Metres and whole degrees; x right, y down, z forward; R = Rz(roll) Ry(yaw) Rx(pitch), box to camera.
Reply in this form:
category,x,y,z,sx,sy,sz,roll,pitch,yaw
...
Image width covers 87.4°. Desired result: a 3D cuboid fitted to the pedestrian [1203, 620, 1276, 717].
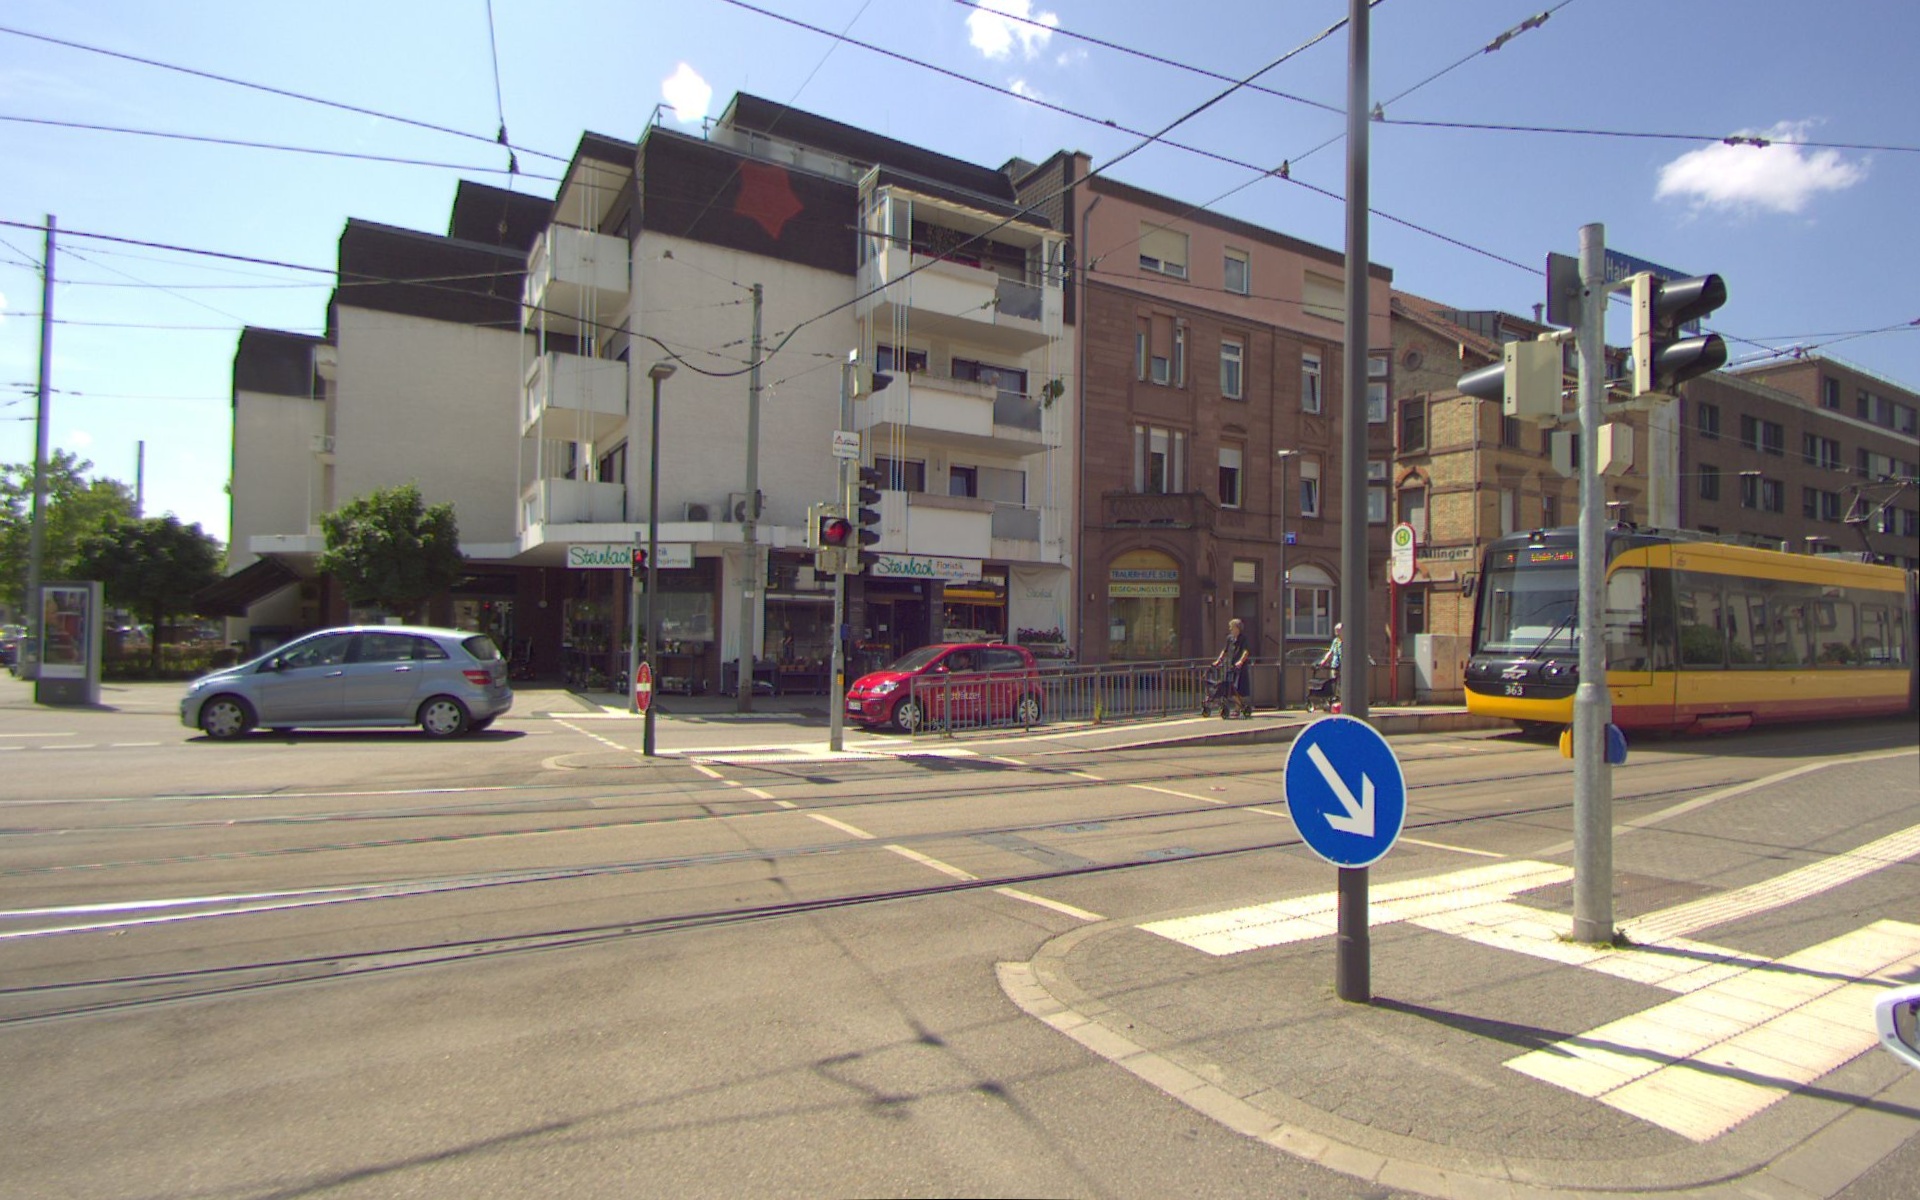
category,x,y,z,sx,sy,sz,roll,pitch,yaw
pedestrian,4.720,1.139,16.973,0.910,1.580,0.781,2,-2,-31

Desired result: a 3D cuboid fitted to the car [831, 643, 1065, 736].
category,x,y,z,sx,sy,sz,roll,pitch,yaw
car,-0.177,1.511,17.659,3.809,1.463,1.647,2,-2,-31

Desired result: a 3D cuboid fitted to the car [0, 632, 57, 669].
category,x,y,z,sx,sy,sz,roll,pitch,yaw
car,-36.393,1.889,38.459,1.979,1.350,4.777,2,-3,-33

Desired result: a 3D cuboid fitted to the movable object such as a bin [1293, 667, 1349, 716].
category,x,y,z,sx,sy,sz,roll,pitch,yaw
movable object such as a bin,6.179,1.553,17.185,0.613,0.790,0.671,2,-3,-32

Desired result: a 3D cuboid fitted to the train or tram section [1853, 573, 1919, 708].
category,x,y,z,sx,sy,sz,roll,pitch,yaw
train or tram section,32.591,1.390,30.802,16.165,3.614,3.219,3,-3,-32

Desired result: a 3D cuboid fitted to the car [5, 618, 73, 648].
category,x,y,z,sx,sy,sz,roll,pitch,yaw
car,-52.772,1.885,57.637,1.978,1.627,4.779,2,-2,-32

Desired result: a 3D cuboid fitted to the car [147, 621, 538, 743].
category,x,y,z,sx,sy,sz,roll,pitch,yaw
car,-8.834,1.178,14.803,4.524,1.636,1.737,1,-2,-12

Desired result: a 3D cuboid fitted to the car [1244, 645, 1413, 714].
category,x,y,z,sx,sy,sz,roll,pitch,yaw
car,8.552,1.815,23.264,3.743,1.475,1.644,2,-4,-29

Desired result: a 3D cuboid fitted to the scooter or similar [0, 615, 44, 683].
category,x,y,z,sx,sy,sz,roll,pitch,yaw
scooter or similar,-26.778,1.378,28.626,0.611,1.870,1.995,2,-3,-33

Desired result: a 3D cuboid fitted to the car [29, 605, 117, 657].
category,x,y,z,sx,sy,sz,roll,pitch,yaw
car,-42.516,1.522,48.285,2.191,2.369,5.177,2,-3,-31

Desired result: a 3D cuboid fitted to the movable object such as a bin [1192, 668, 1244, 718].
category,x,y,z,sx,sy,sz,roll,pitch,yaw
movable object such as a bin,4.282,1.532,16.681,0.532,0.790,0.671,2,-3,-32

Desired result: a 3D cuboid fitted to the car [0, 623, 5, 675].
category,x,y,z,sx,sy,sz,roll,pitch,yaw
car,-33.795,1.645,33.473,1.979,1.863,4.777,2,-3,-33

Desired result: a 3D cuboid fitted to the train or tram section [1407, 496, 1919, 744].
category,x,y,z,sx,sy,sz,roll,pitch,yaw
train or tram section,17.195,0.737,21.314,20.270,3.614,3.234,3,-3,-32

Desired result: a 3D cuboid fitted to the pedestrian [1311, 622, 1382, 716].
category,x,y,z,sx,sy,sz,roll,pitch,yaw
pedestrian,6.734,1.188,17.504,0.910,1.580,0.781,2,-2,-31
